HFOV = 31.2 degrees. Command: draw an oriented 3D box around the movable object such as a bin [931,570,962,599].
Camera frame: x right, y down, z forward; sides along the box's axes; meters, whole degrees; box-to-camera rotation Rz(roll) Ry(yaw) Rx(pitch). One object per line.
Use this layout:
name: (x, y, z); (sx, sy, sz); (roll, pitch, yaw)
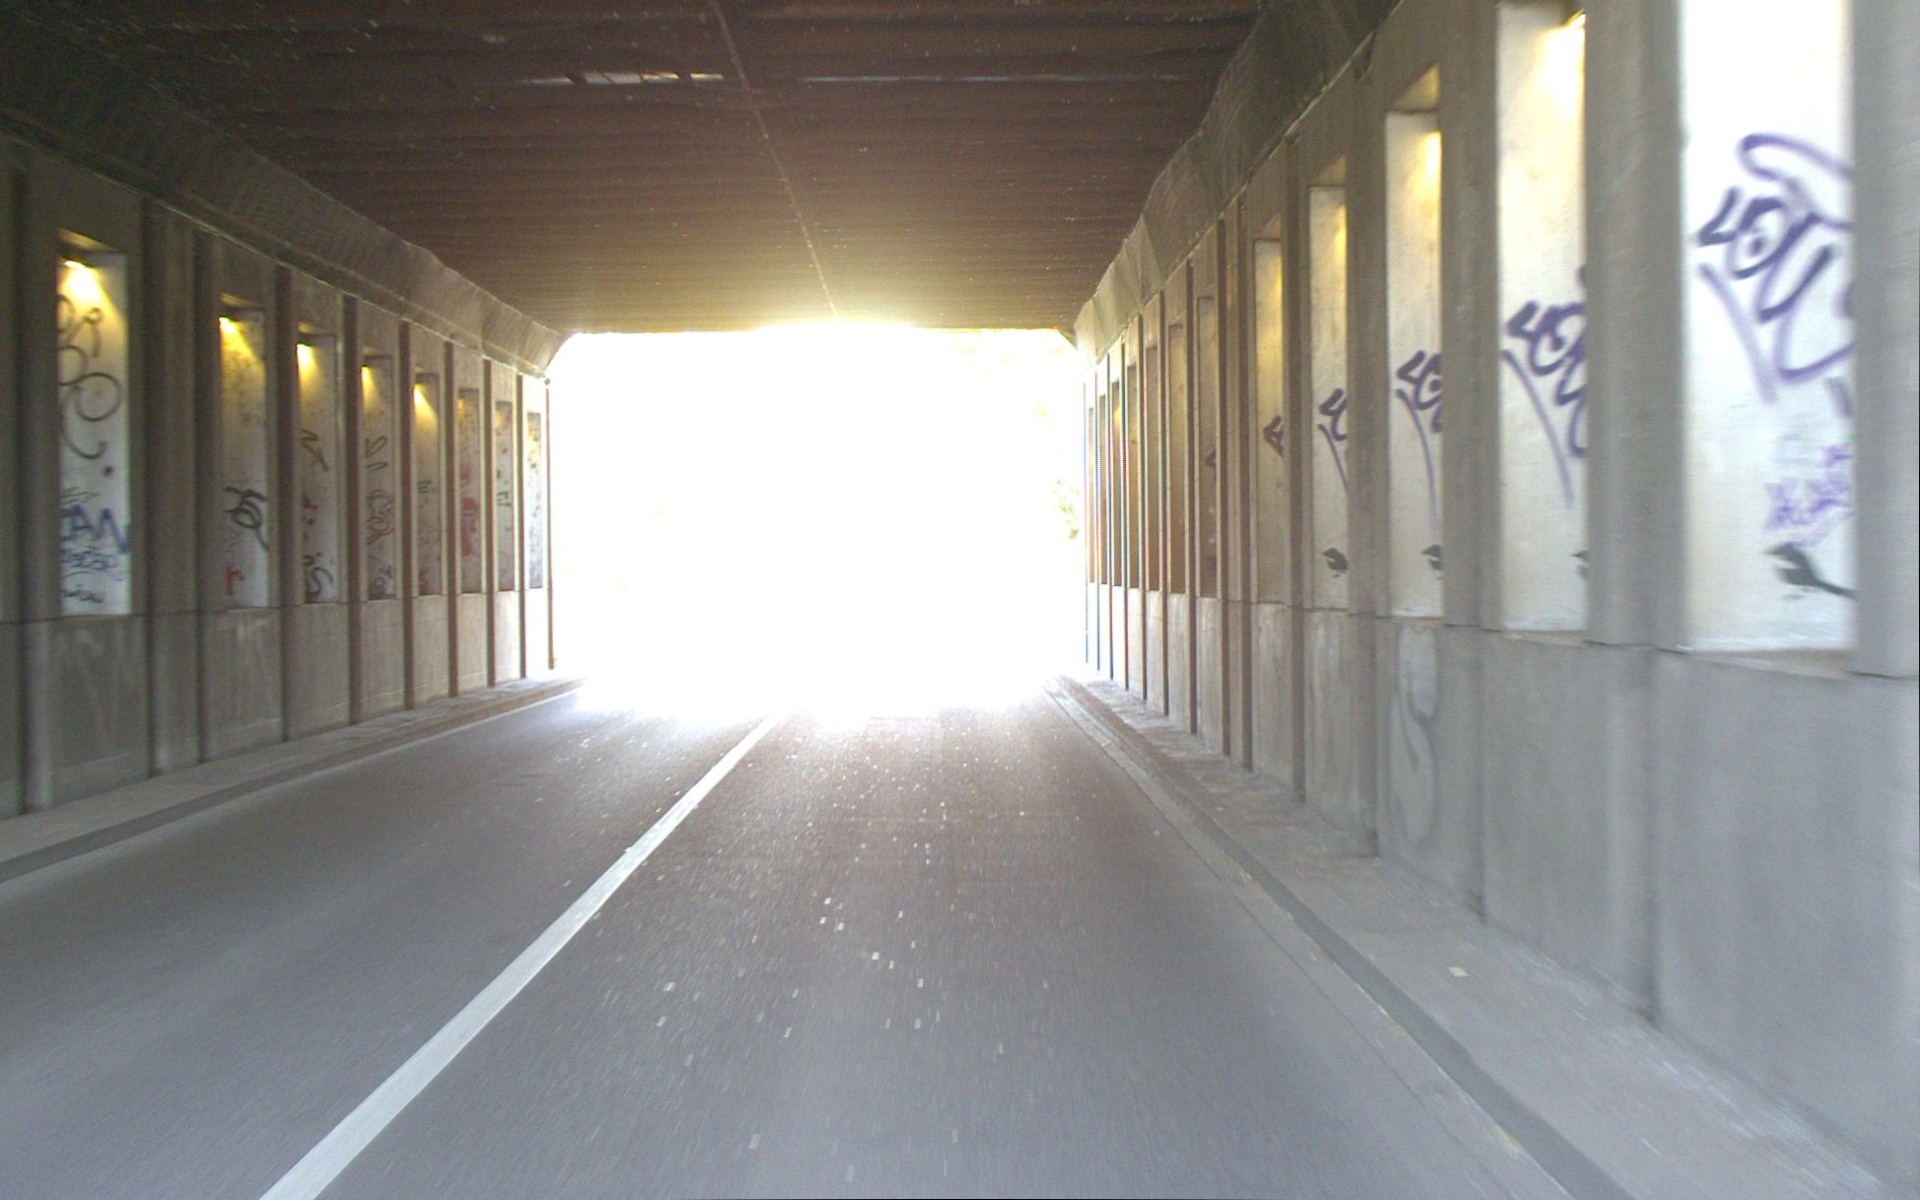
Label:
movable object such as a bin: (-0.672, -0.783, 171.937); (1.364, 1.413, 1.066); (2, 0, -7)
